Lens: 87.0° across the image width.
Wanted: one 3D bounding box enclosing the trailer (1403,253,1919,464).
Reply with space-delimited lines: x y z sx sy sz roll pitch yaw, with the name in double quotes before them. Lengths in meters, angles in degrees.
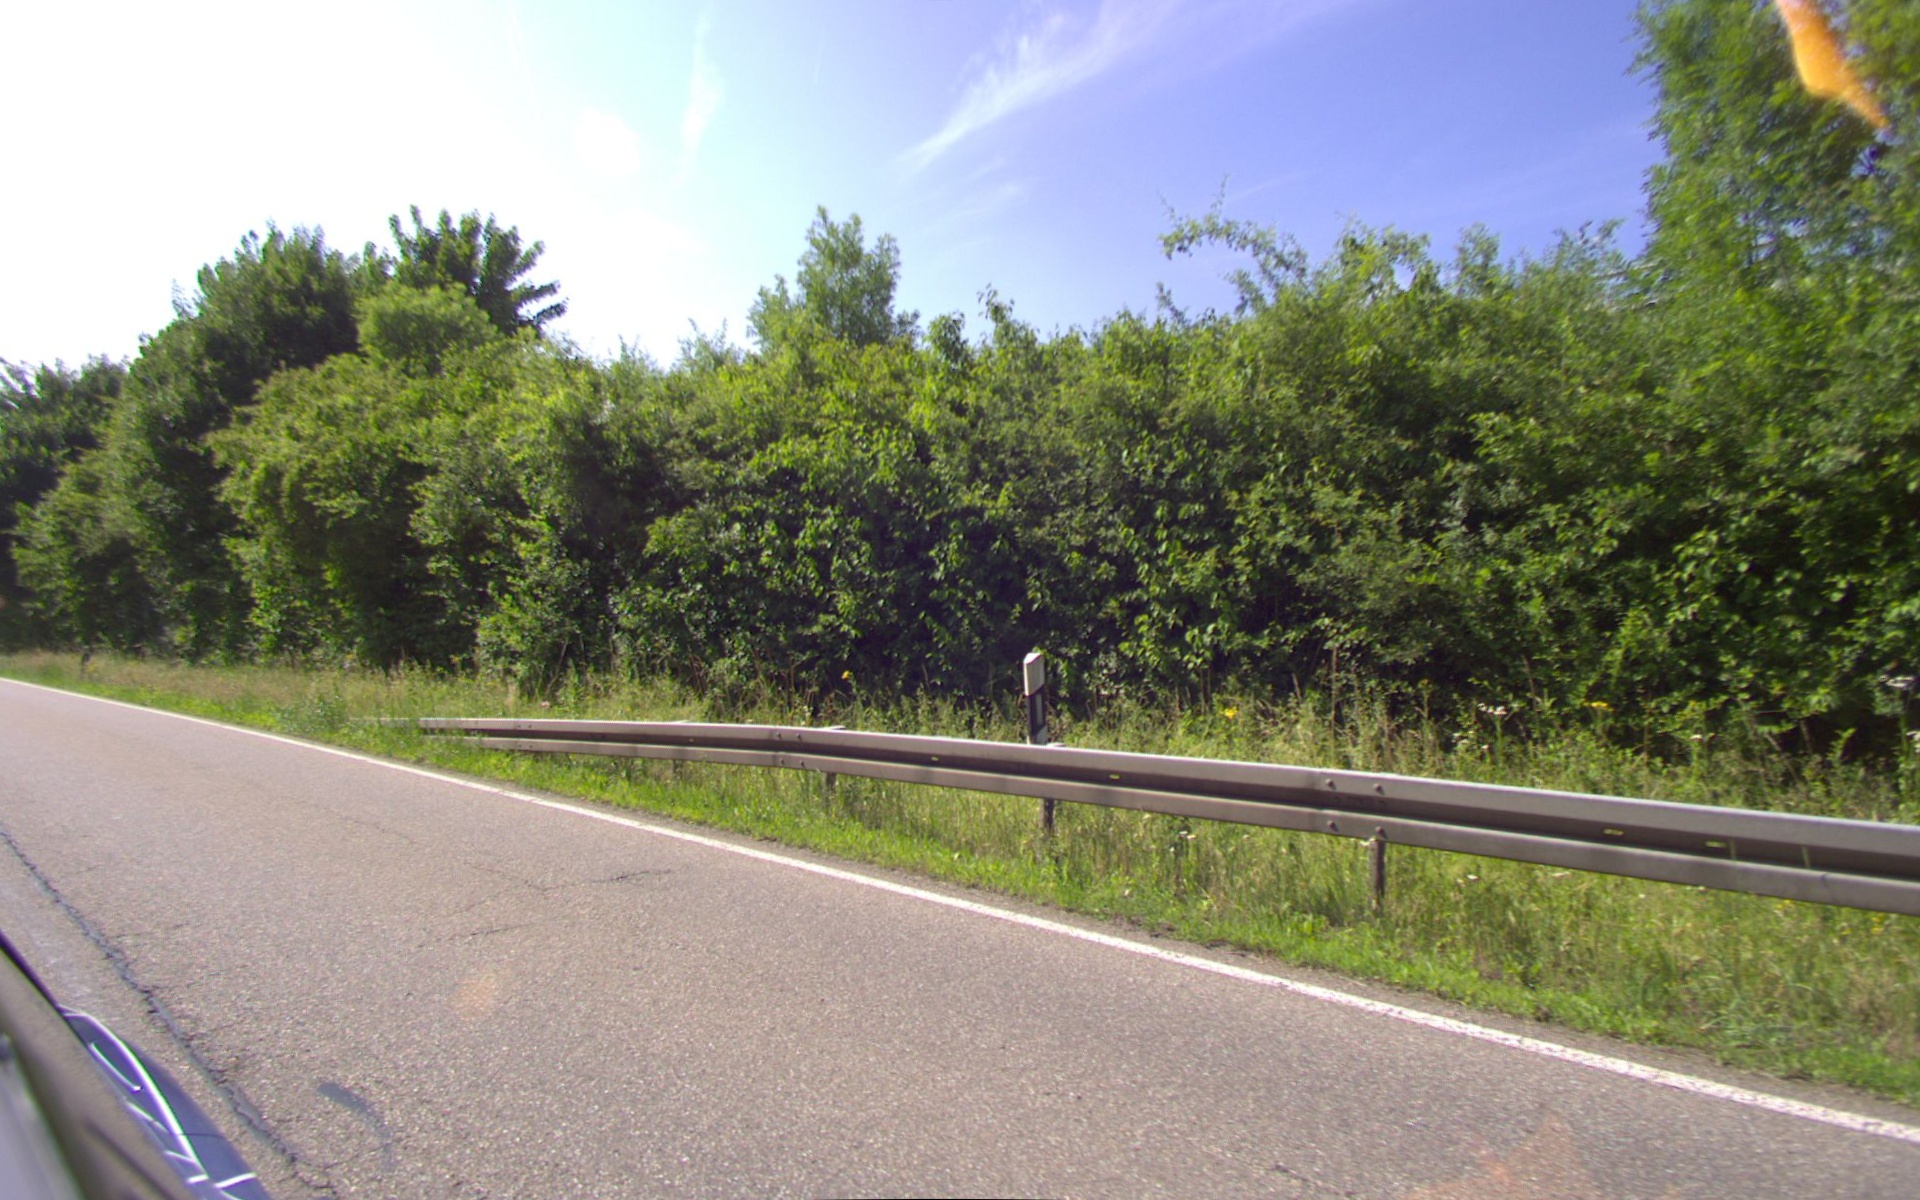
"trailer" 17.388 -5.425 23.476 12.940 2.900 2.369 -2 -1 43
